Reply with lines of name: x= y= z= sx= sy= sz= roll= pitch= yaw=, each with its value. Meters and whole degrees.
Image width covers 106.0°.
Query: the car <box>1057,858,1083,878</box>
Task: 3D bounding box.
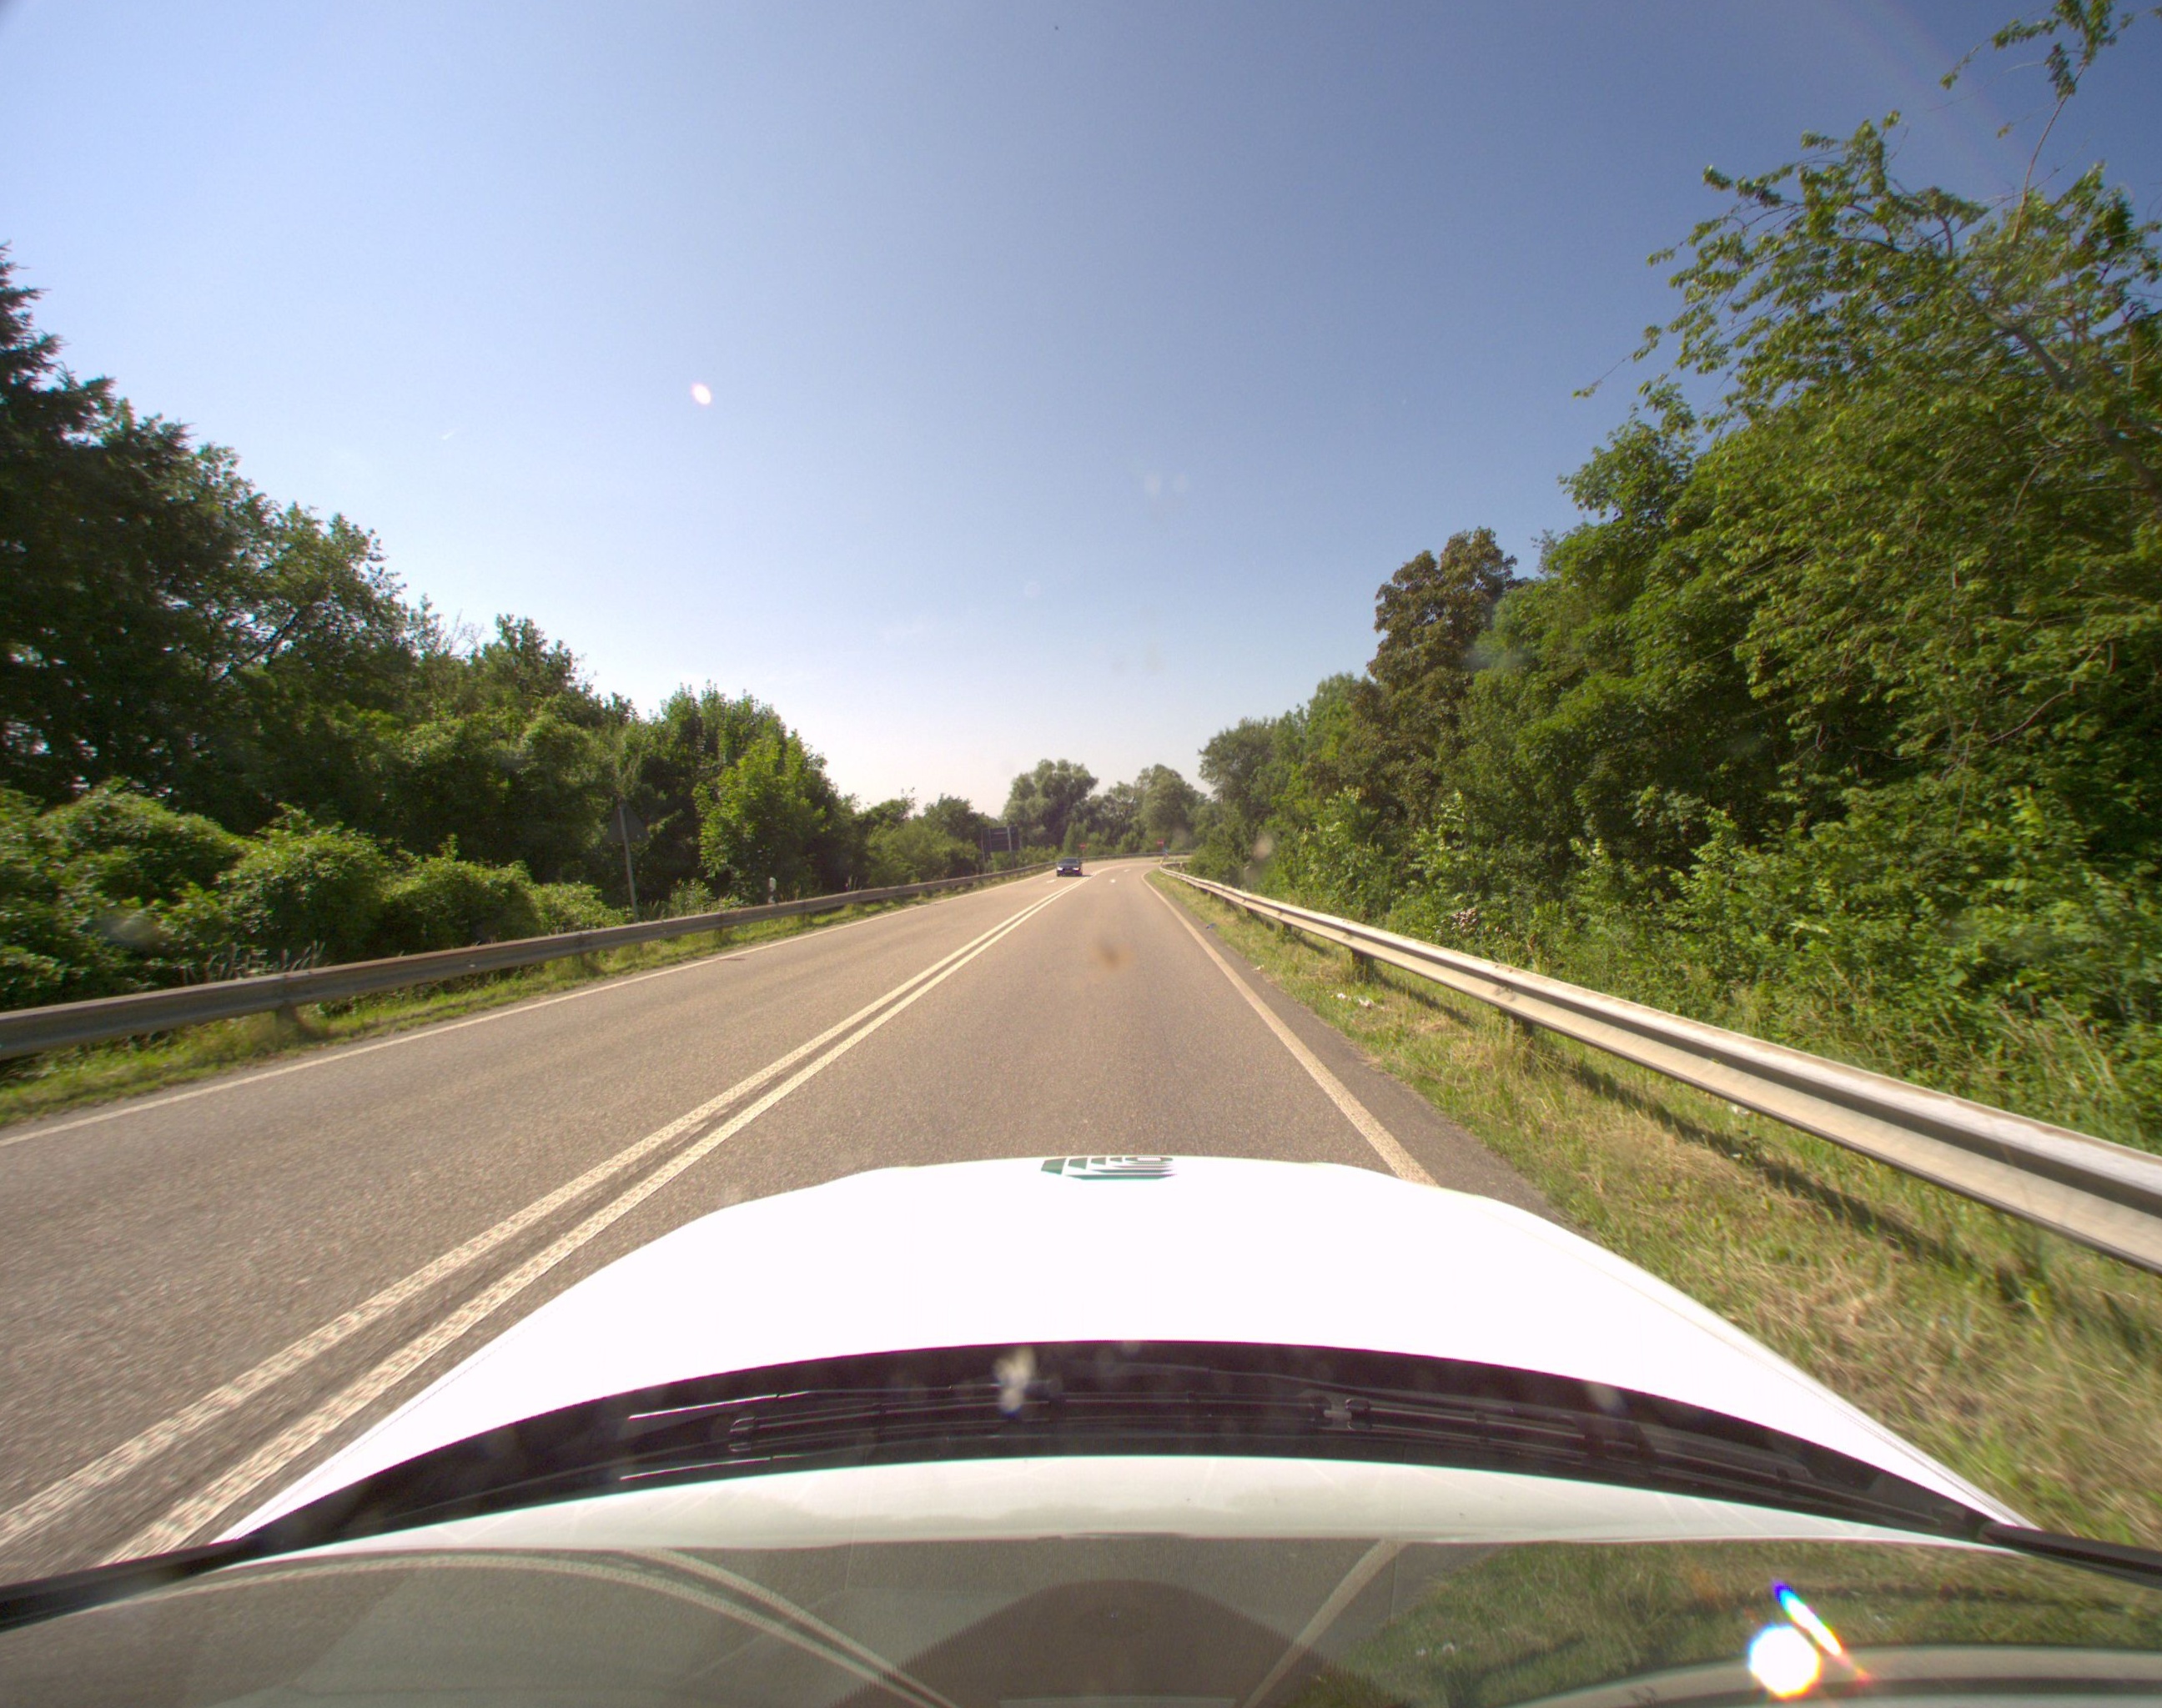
car: x=-0.819 y=1.045 z=62.889 sx=1.601 sy=1.473 sz=4.223 roll=-2 pitch=0 yaw=3
